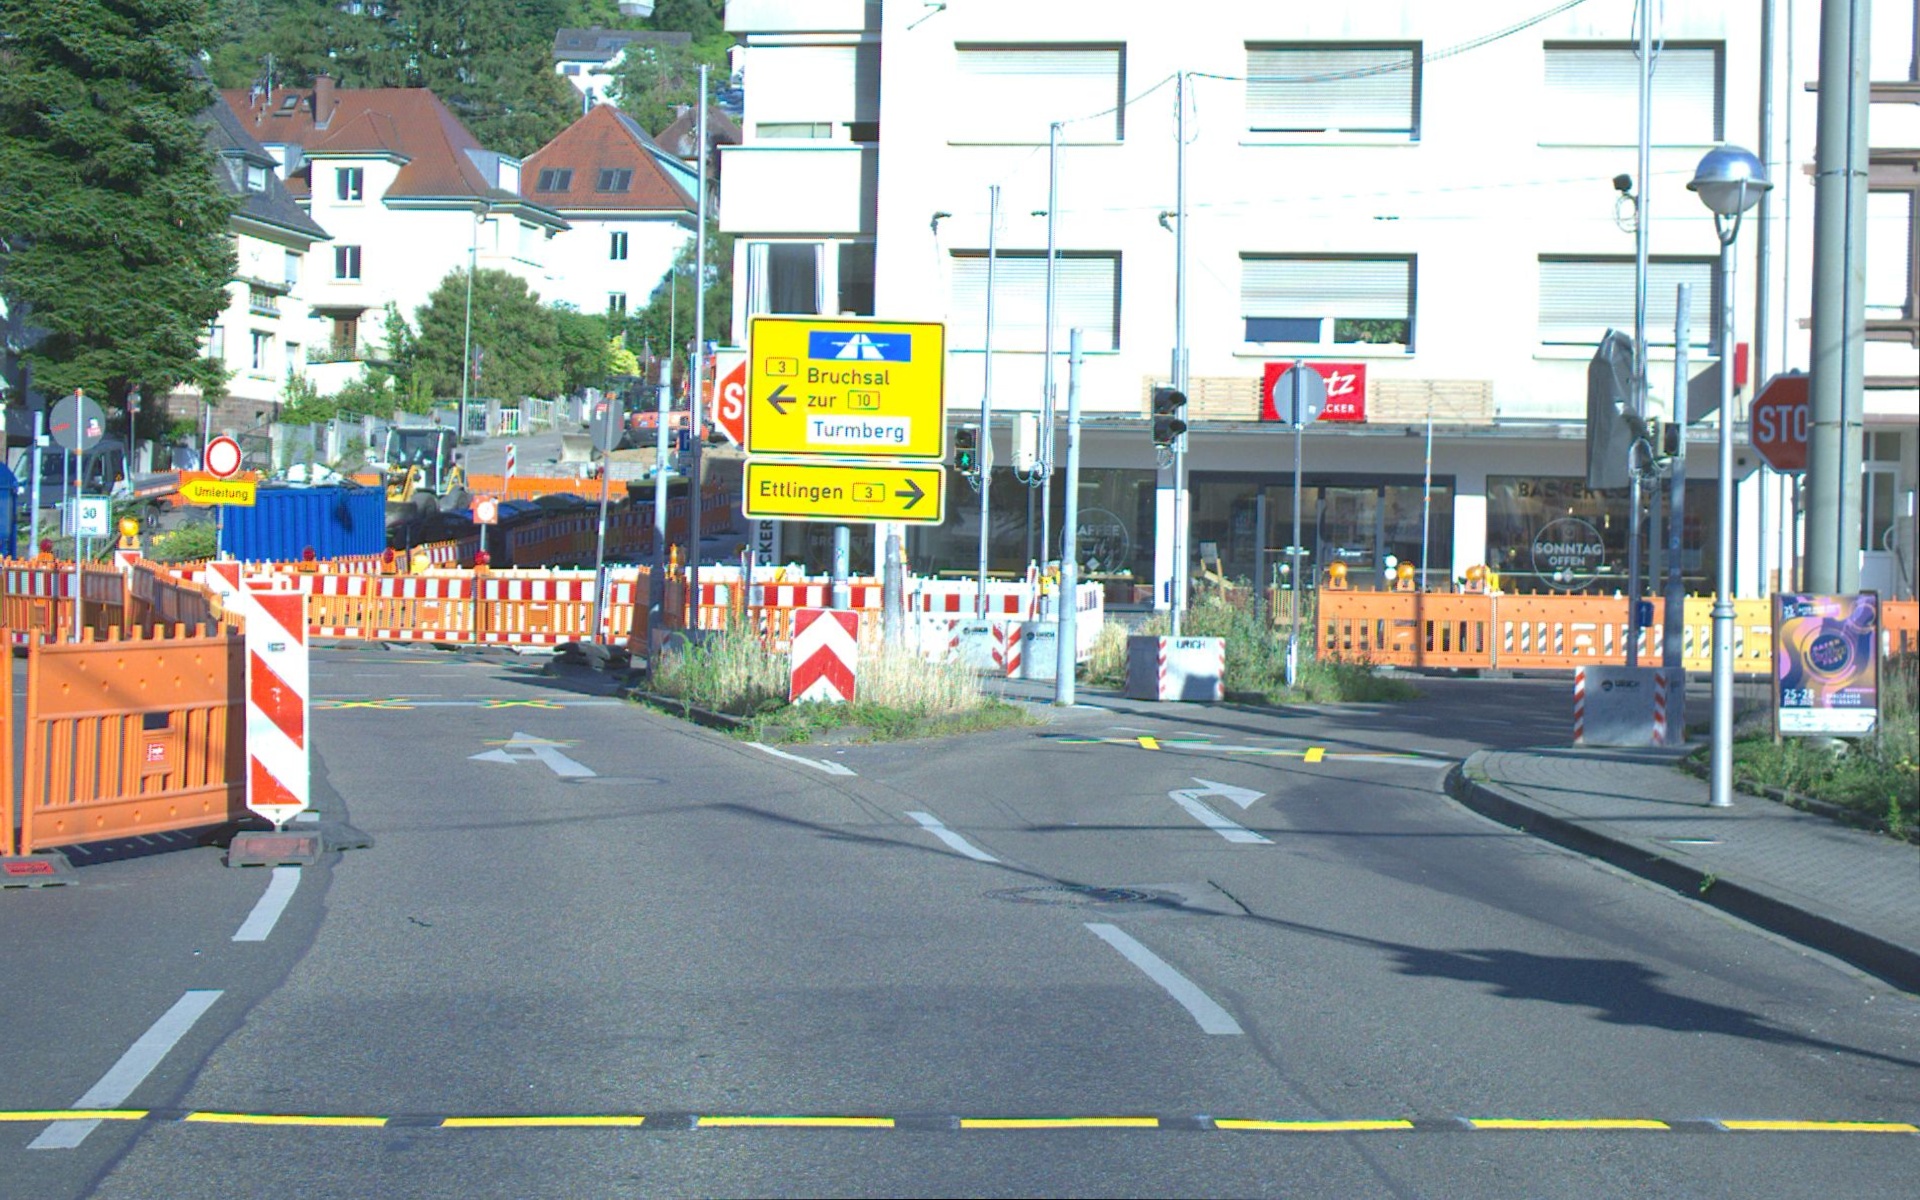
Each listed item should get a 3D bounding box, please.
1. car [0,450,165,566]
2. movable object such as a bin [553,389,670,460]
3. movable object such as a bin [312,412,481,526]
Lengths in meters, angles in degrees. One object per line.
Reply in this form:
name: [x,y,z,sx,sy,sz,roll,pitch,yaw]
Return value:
car: [-18.059,-1.743,66.147,2.585,2.113,6.145,1,1,18]
movable object such as a bin: [-11.598,-5.823,114.839,2.566,2.114,5.782,1,1,8]
movable object such as a bin: [-12.894,-2.977,78.945,1.950,2.486,4.547,1,1,18]
